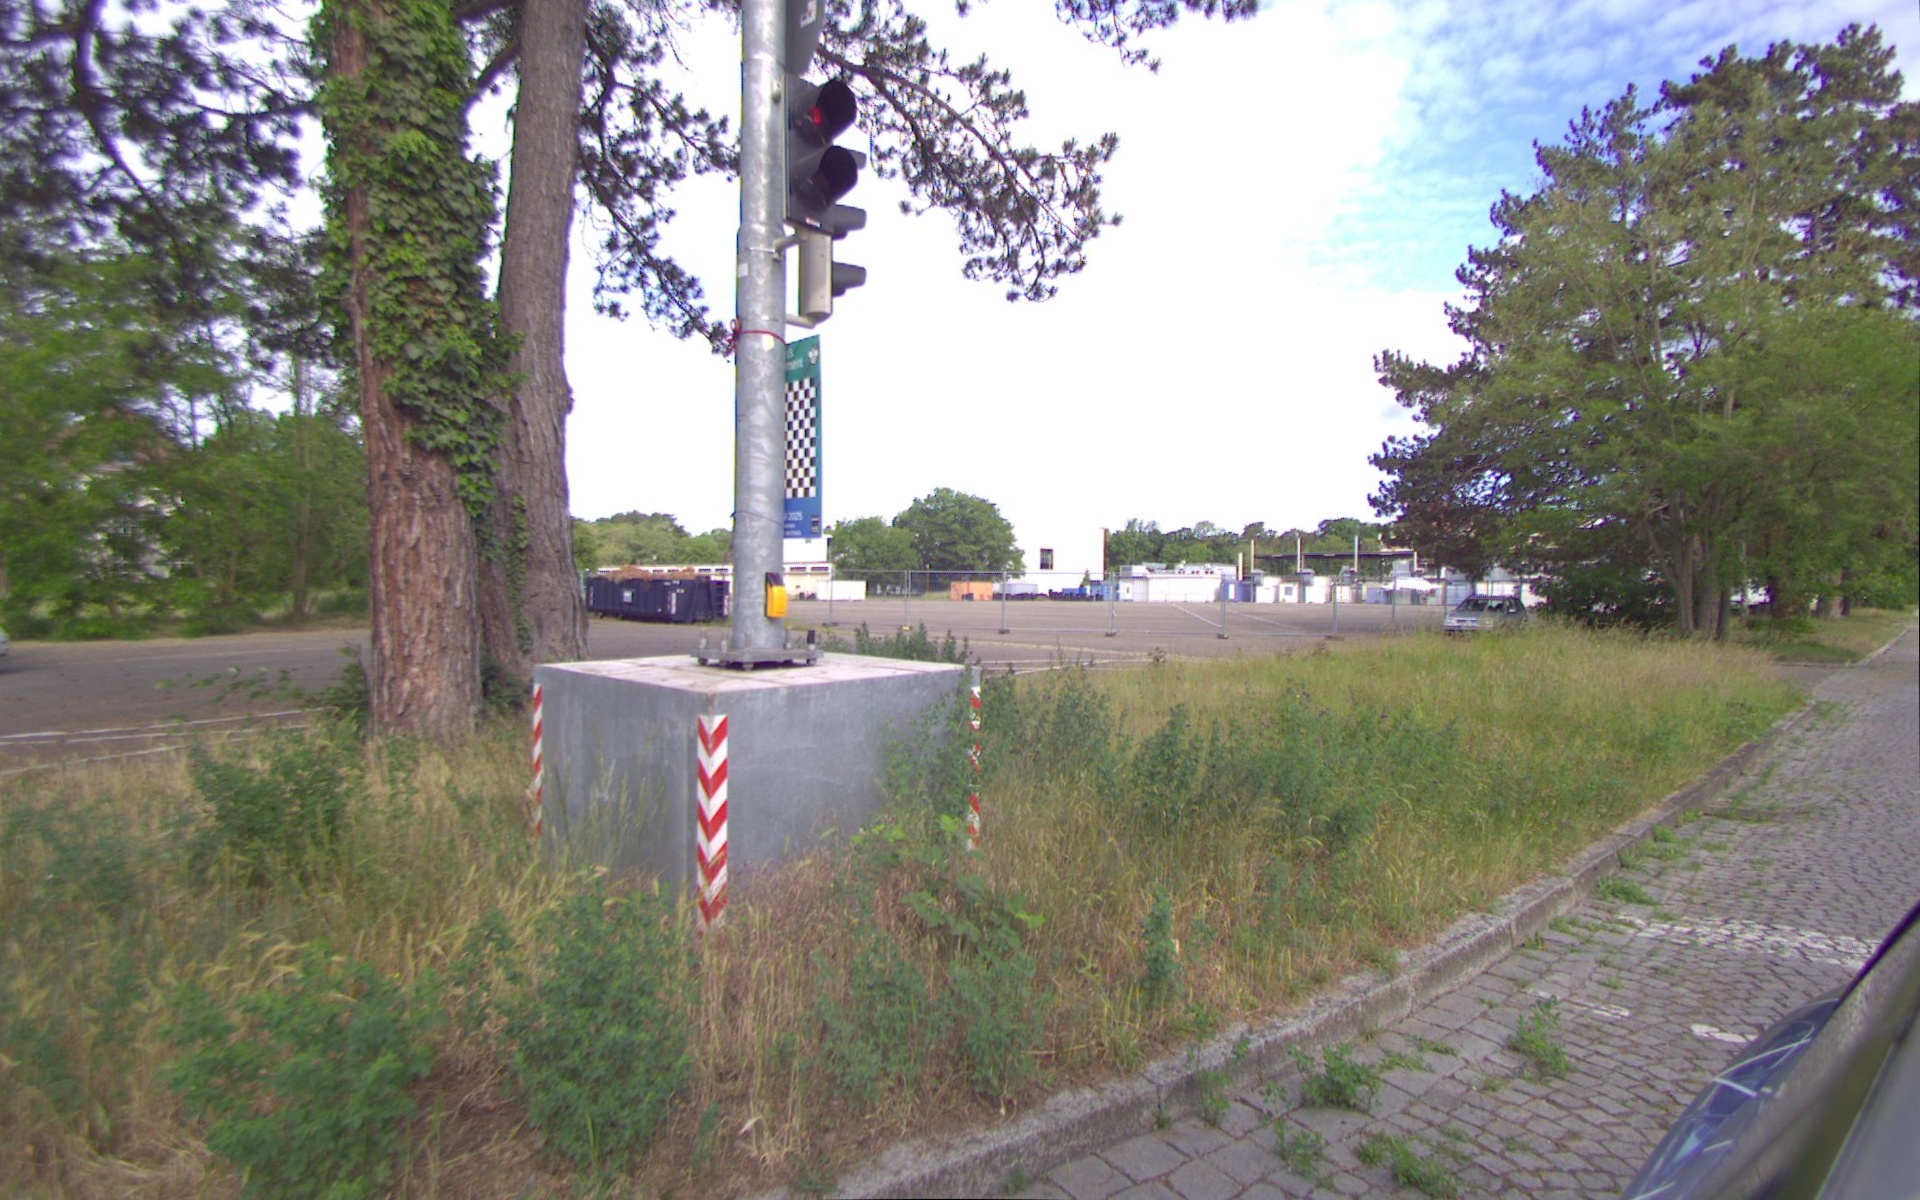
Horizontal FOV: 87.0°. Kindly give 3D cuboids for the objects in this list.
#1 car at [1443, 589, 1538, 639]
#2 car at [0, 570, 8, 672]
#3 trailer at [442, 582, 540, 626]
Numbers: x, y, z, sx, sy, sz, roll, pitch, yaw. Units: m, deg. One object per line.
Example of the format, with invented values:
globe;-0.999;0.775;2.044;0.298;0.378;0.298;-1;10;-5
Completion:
car;17.048;0.395;32.456;1.856;1.492;4.091;1;1;40
car;-15.741;0.416;13.329;1.820;1.443;4.498;0;3;42
trailer;-13.307;0.116;28.763;1.140;1.185;2.283;0;-1;43
